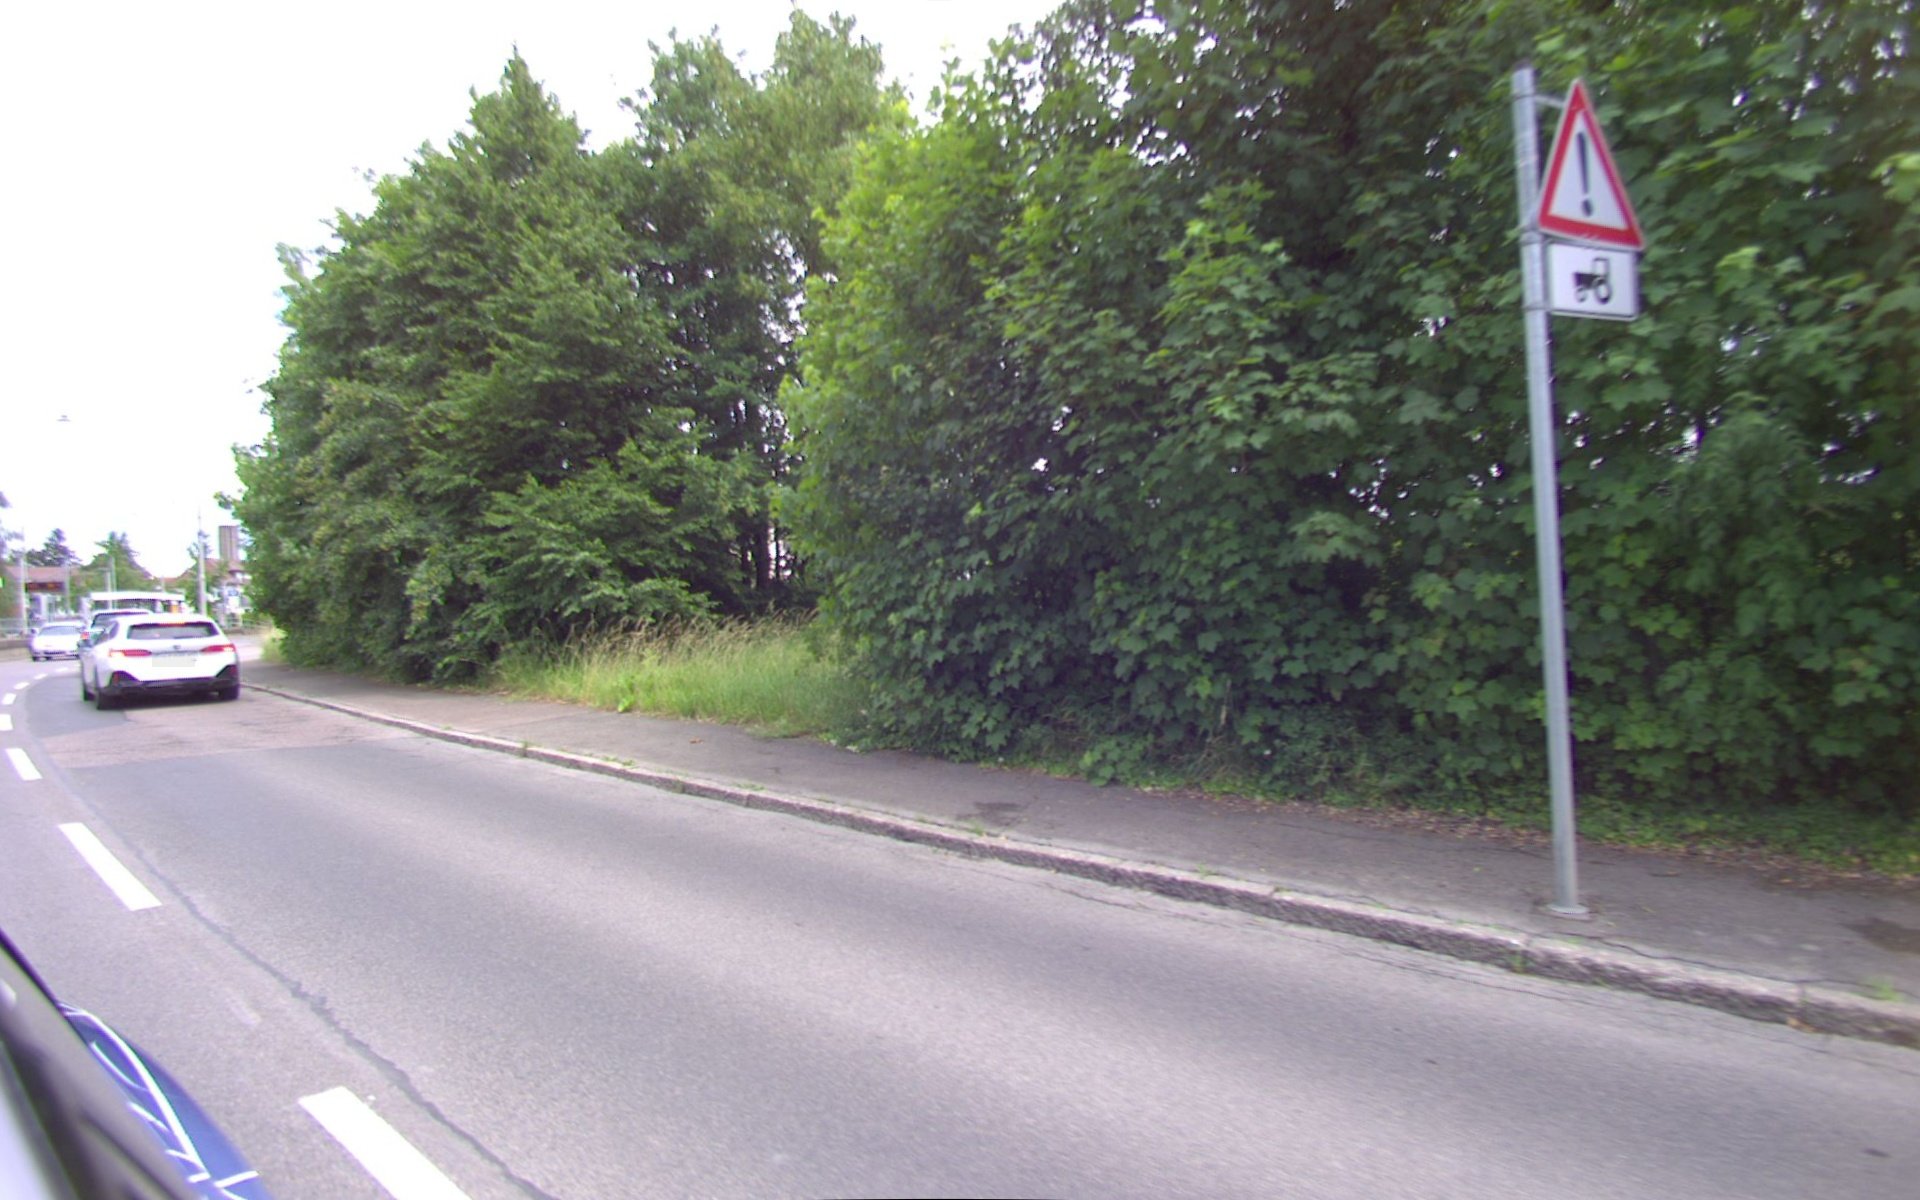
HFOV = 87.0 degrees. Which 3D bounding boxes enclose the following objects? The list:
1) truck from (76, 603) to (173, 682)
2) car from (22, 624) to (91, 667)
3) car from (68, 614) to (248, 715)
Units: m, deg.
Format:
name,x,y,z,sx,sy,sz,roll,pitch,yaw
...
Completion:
name,x,y,z,sx,sy,sz,roll,pitch,yaw
truck,-23.861,1.163,28.830,1.826,1.981,4.964,-2,1,-42
car,-38.983,1.941,43.747,1.707,1.661,4.236,-3,1,-36
car,-14.077,1.026,17.665,4.661,1.533,1.908,-2,-2,45
